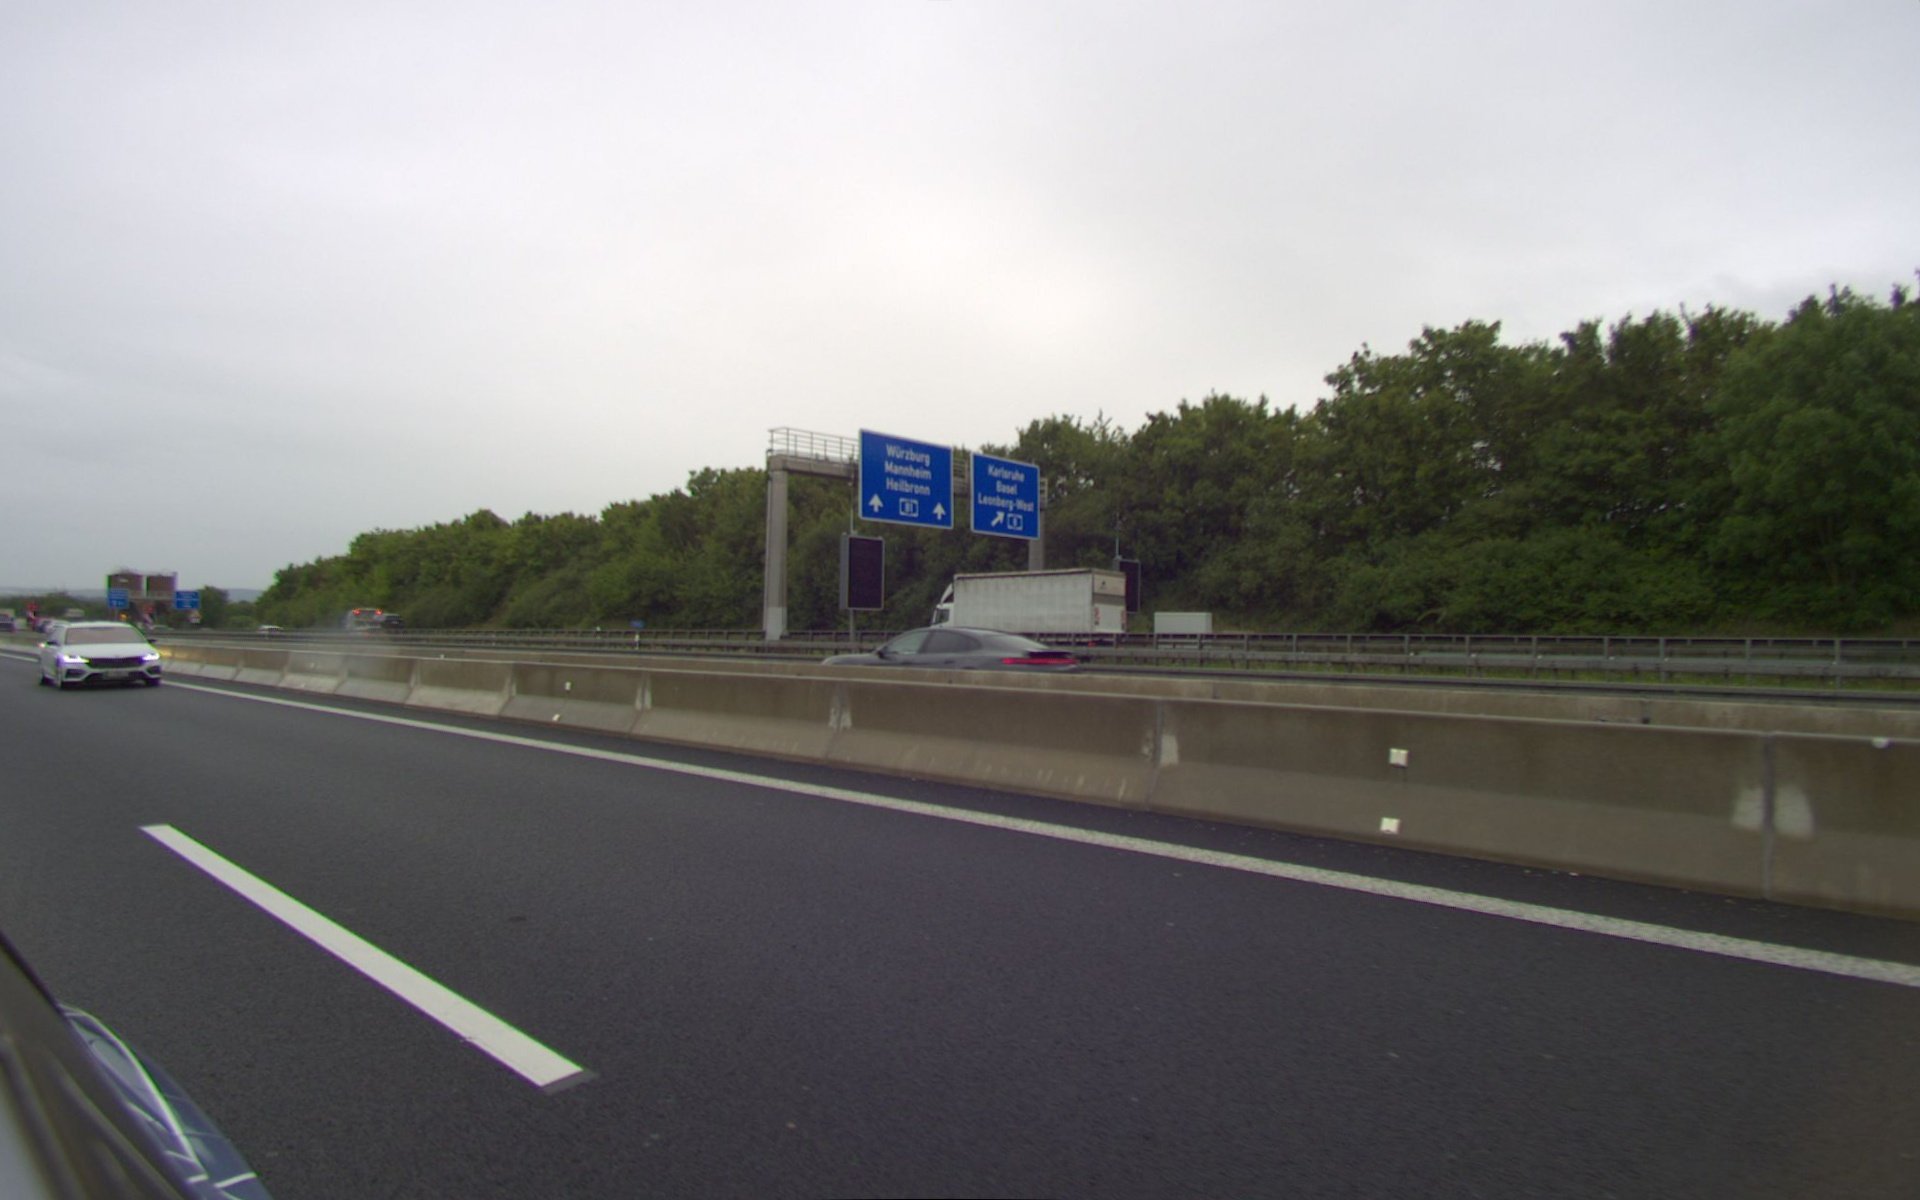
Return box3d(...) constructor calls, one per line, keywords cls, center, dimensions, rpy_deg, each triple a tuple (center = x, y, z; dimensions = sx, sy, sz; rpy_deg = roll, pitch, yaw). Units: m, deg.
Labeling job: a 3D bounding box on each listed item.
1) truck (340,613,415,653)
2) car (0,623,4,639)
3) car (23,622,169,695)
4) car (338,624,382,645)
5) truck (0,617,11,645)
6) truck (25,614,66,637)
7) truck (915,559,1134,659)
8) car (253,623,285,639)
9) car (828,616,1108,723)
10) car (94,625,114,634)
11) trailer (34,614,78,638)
box3d(cls="truck", center=(-49.646, 2.730, 86.124), dimensions=(9.076, 3.245, 2.821), rpy_deg=(-1, 0, 42))
box3d(cls="car", center=(-102.967, 3.270, 107.250), dimensions=(4.774, 1.694, 1.851), rpy_deg=(-1, 0, 40))
box3d(cls="car", center=(-19.905, 1.253, 23.242), dimensions=(4.774, 1.467, 1.800), rpy_deg=(-1, 0, 40))
box3d(cls="car", center=(-44.630, 2.549, 75.207), dimensions=(3.998, 1.467, 1.658), rpy_deg=(-1, 0, 41))
box3d(cls="truck", center=(-142.595, 4.516, 148.948), dimensions=(16.084, 3.907, 2.895), rpy_deg=(-1, 0, 42))
box3d(cls="truck", center=(-99.651, 2.751, 110.259), dimensions=(7.339, 2.358, 2.549), rpy_deg=(-1, 0, 42))
box3d(cls="truck", center=(2.576, 0.415, 43.878), dimensions=(9.632, 3.908, 3.042), rpy_deg=(-1, 0, 42))
box3d(cls="car", center=(-73.669, 3.315, 107.854), dimensions=(4.774, 1.593, 1.641), rpy_deg=(-1, 0, 40))
box3d(cls="car", center=(0.014, 1.000, 16.158), dimensions=(4.416, 1.467, 1.738), rpy_deg=(-1, 0, 41))
box3d(cls="car", center=(-146.906, 4.998, 173.683), dimensions=(4.774, 1.467, 1.800), rpy_deg=(-1, 0, 40))
box3d(cls="trailer", center=(-94.036, 2.666, 105.179), dimensions=(7.944, 2.358, 2.549), rpy_deg=(-1, 0, 42))
